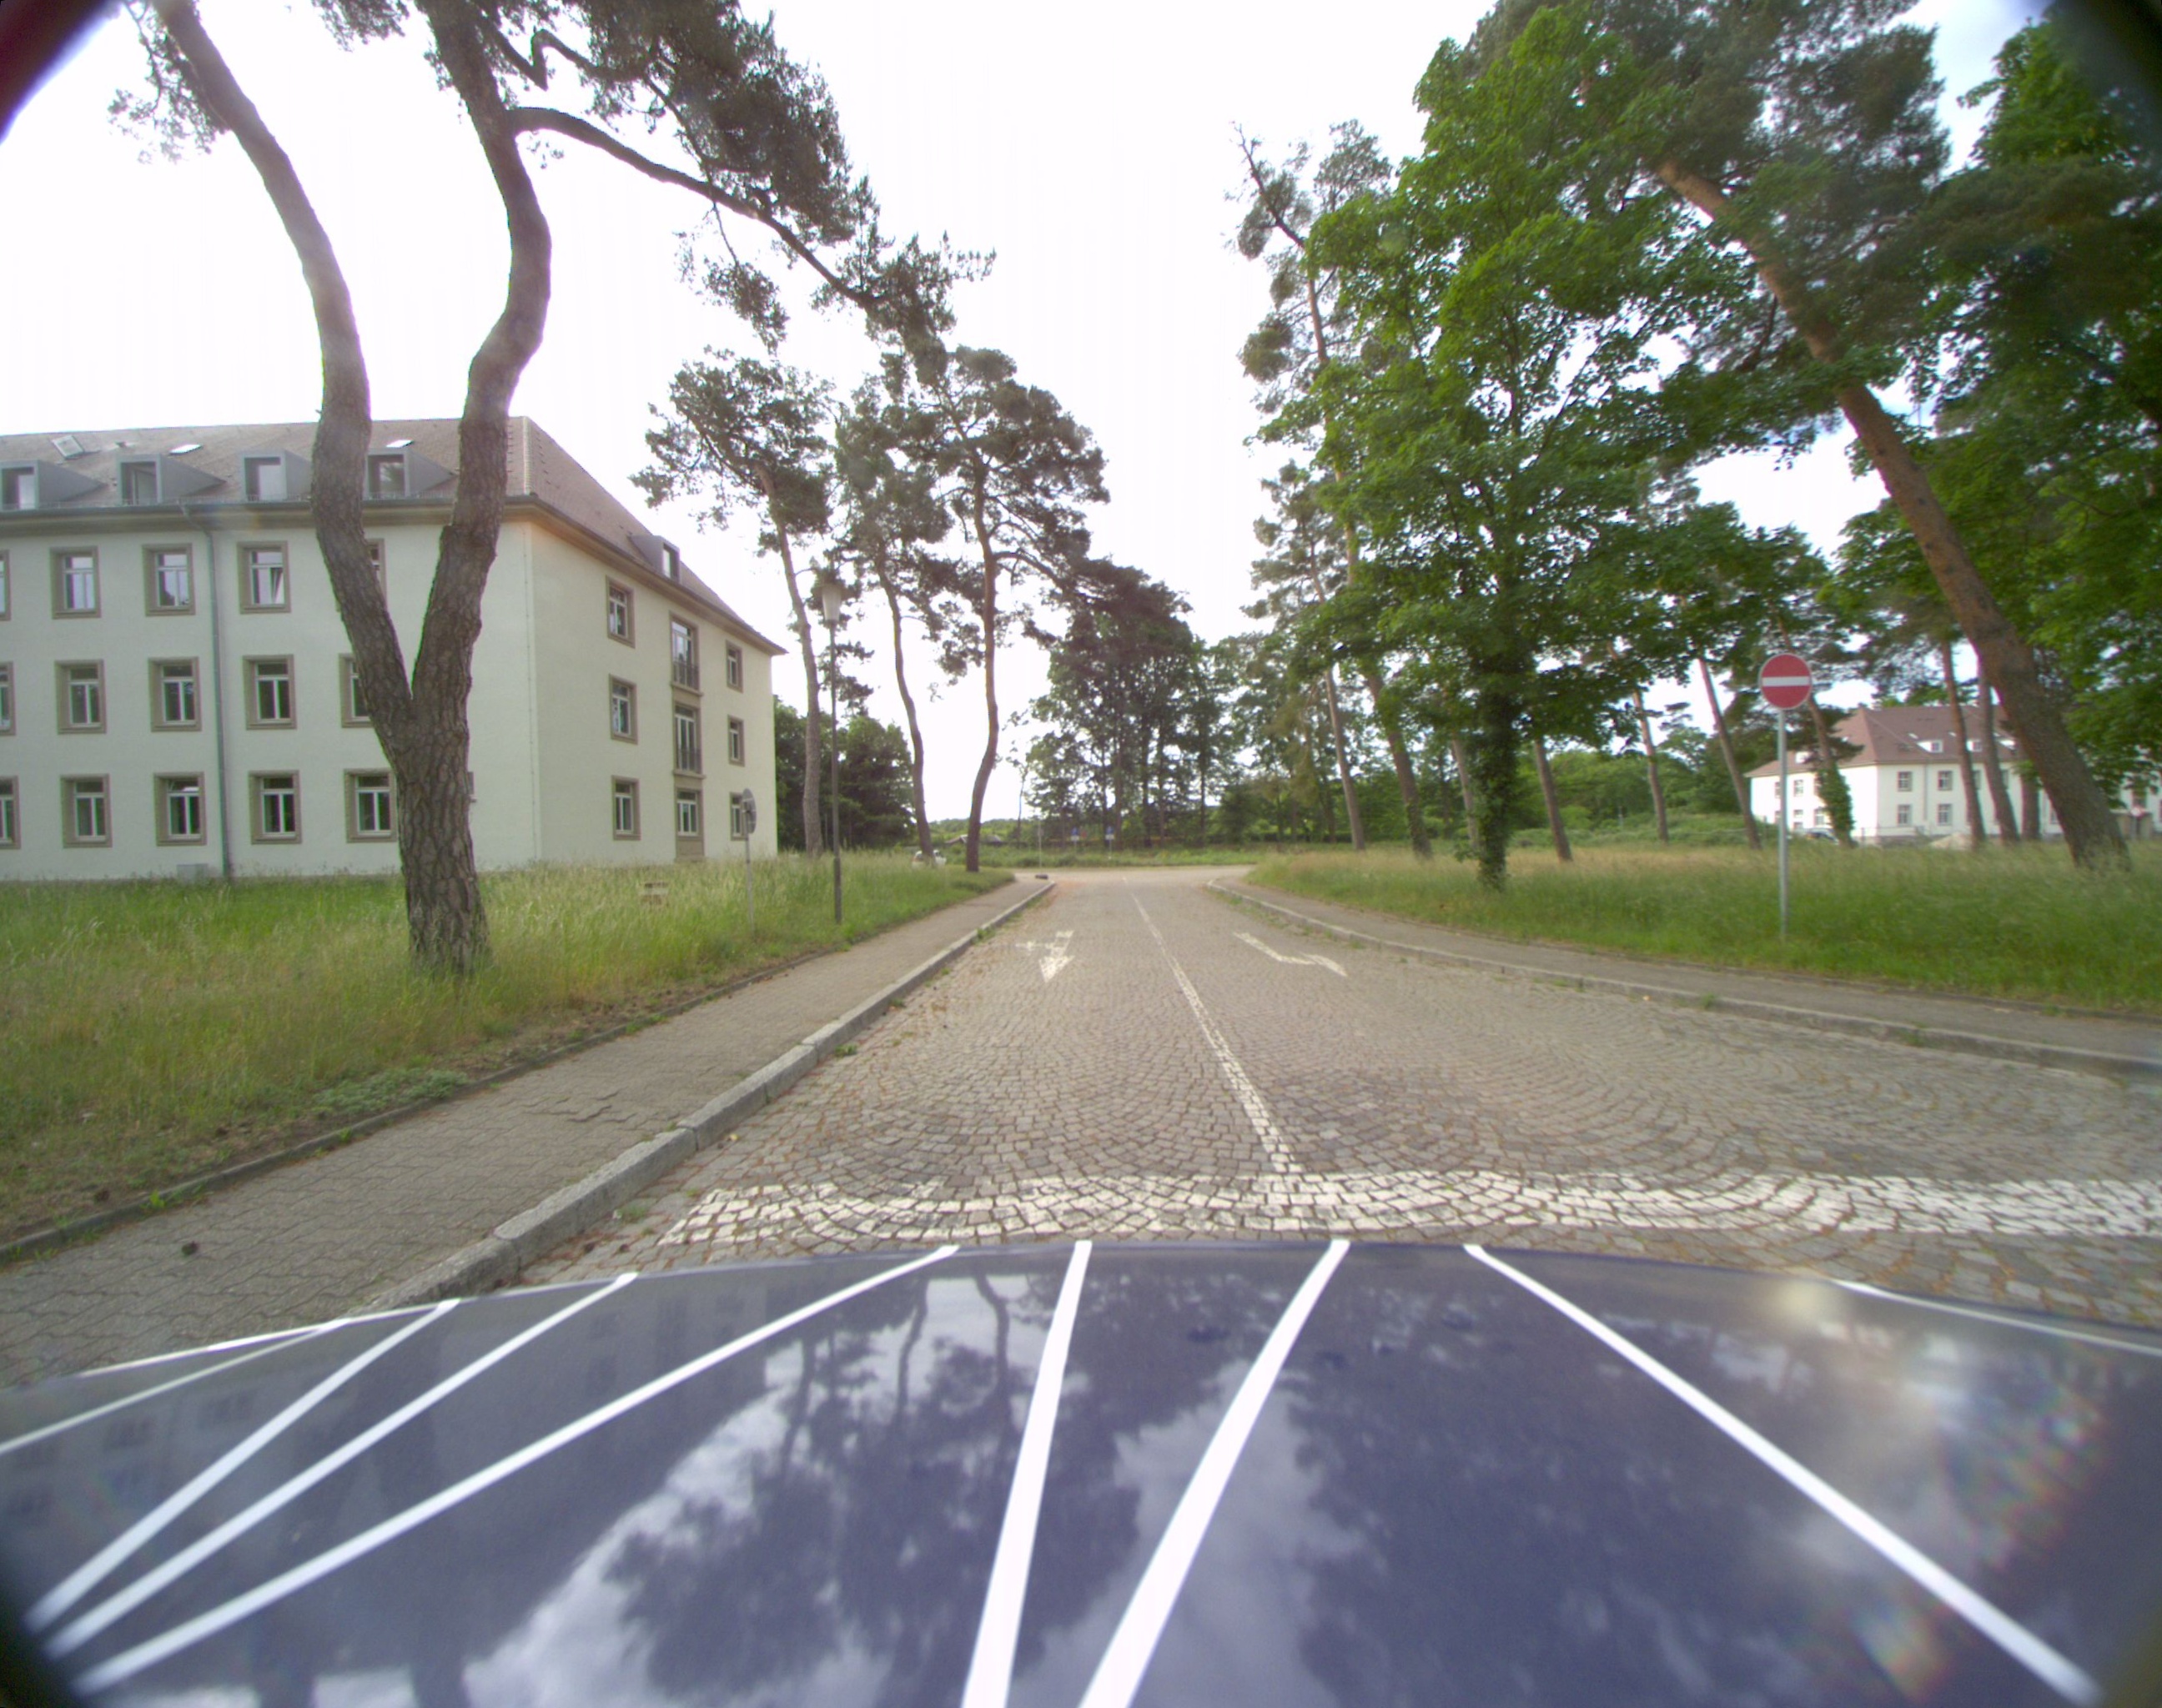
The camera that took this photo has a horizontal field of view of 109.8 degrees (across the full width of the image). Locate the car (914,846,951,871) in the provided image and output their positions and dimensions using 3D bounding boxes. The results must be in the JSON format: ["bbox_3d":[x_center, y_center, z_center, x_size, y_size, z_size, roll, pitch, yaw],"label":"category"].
[{"bbox_3d":[-9.923,0.293,50.976,1.640,1.426,3.277,-1,3,2],"label":"car"}]
